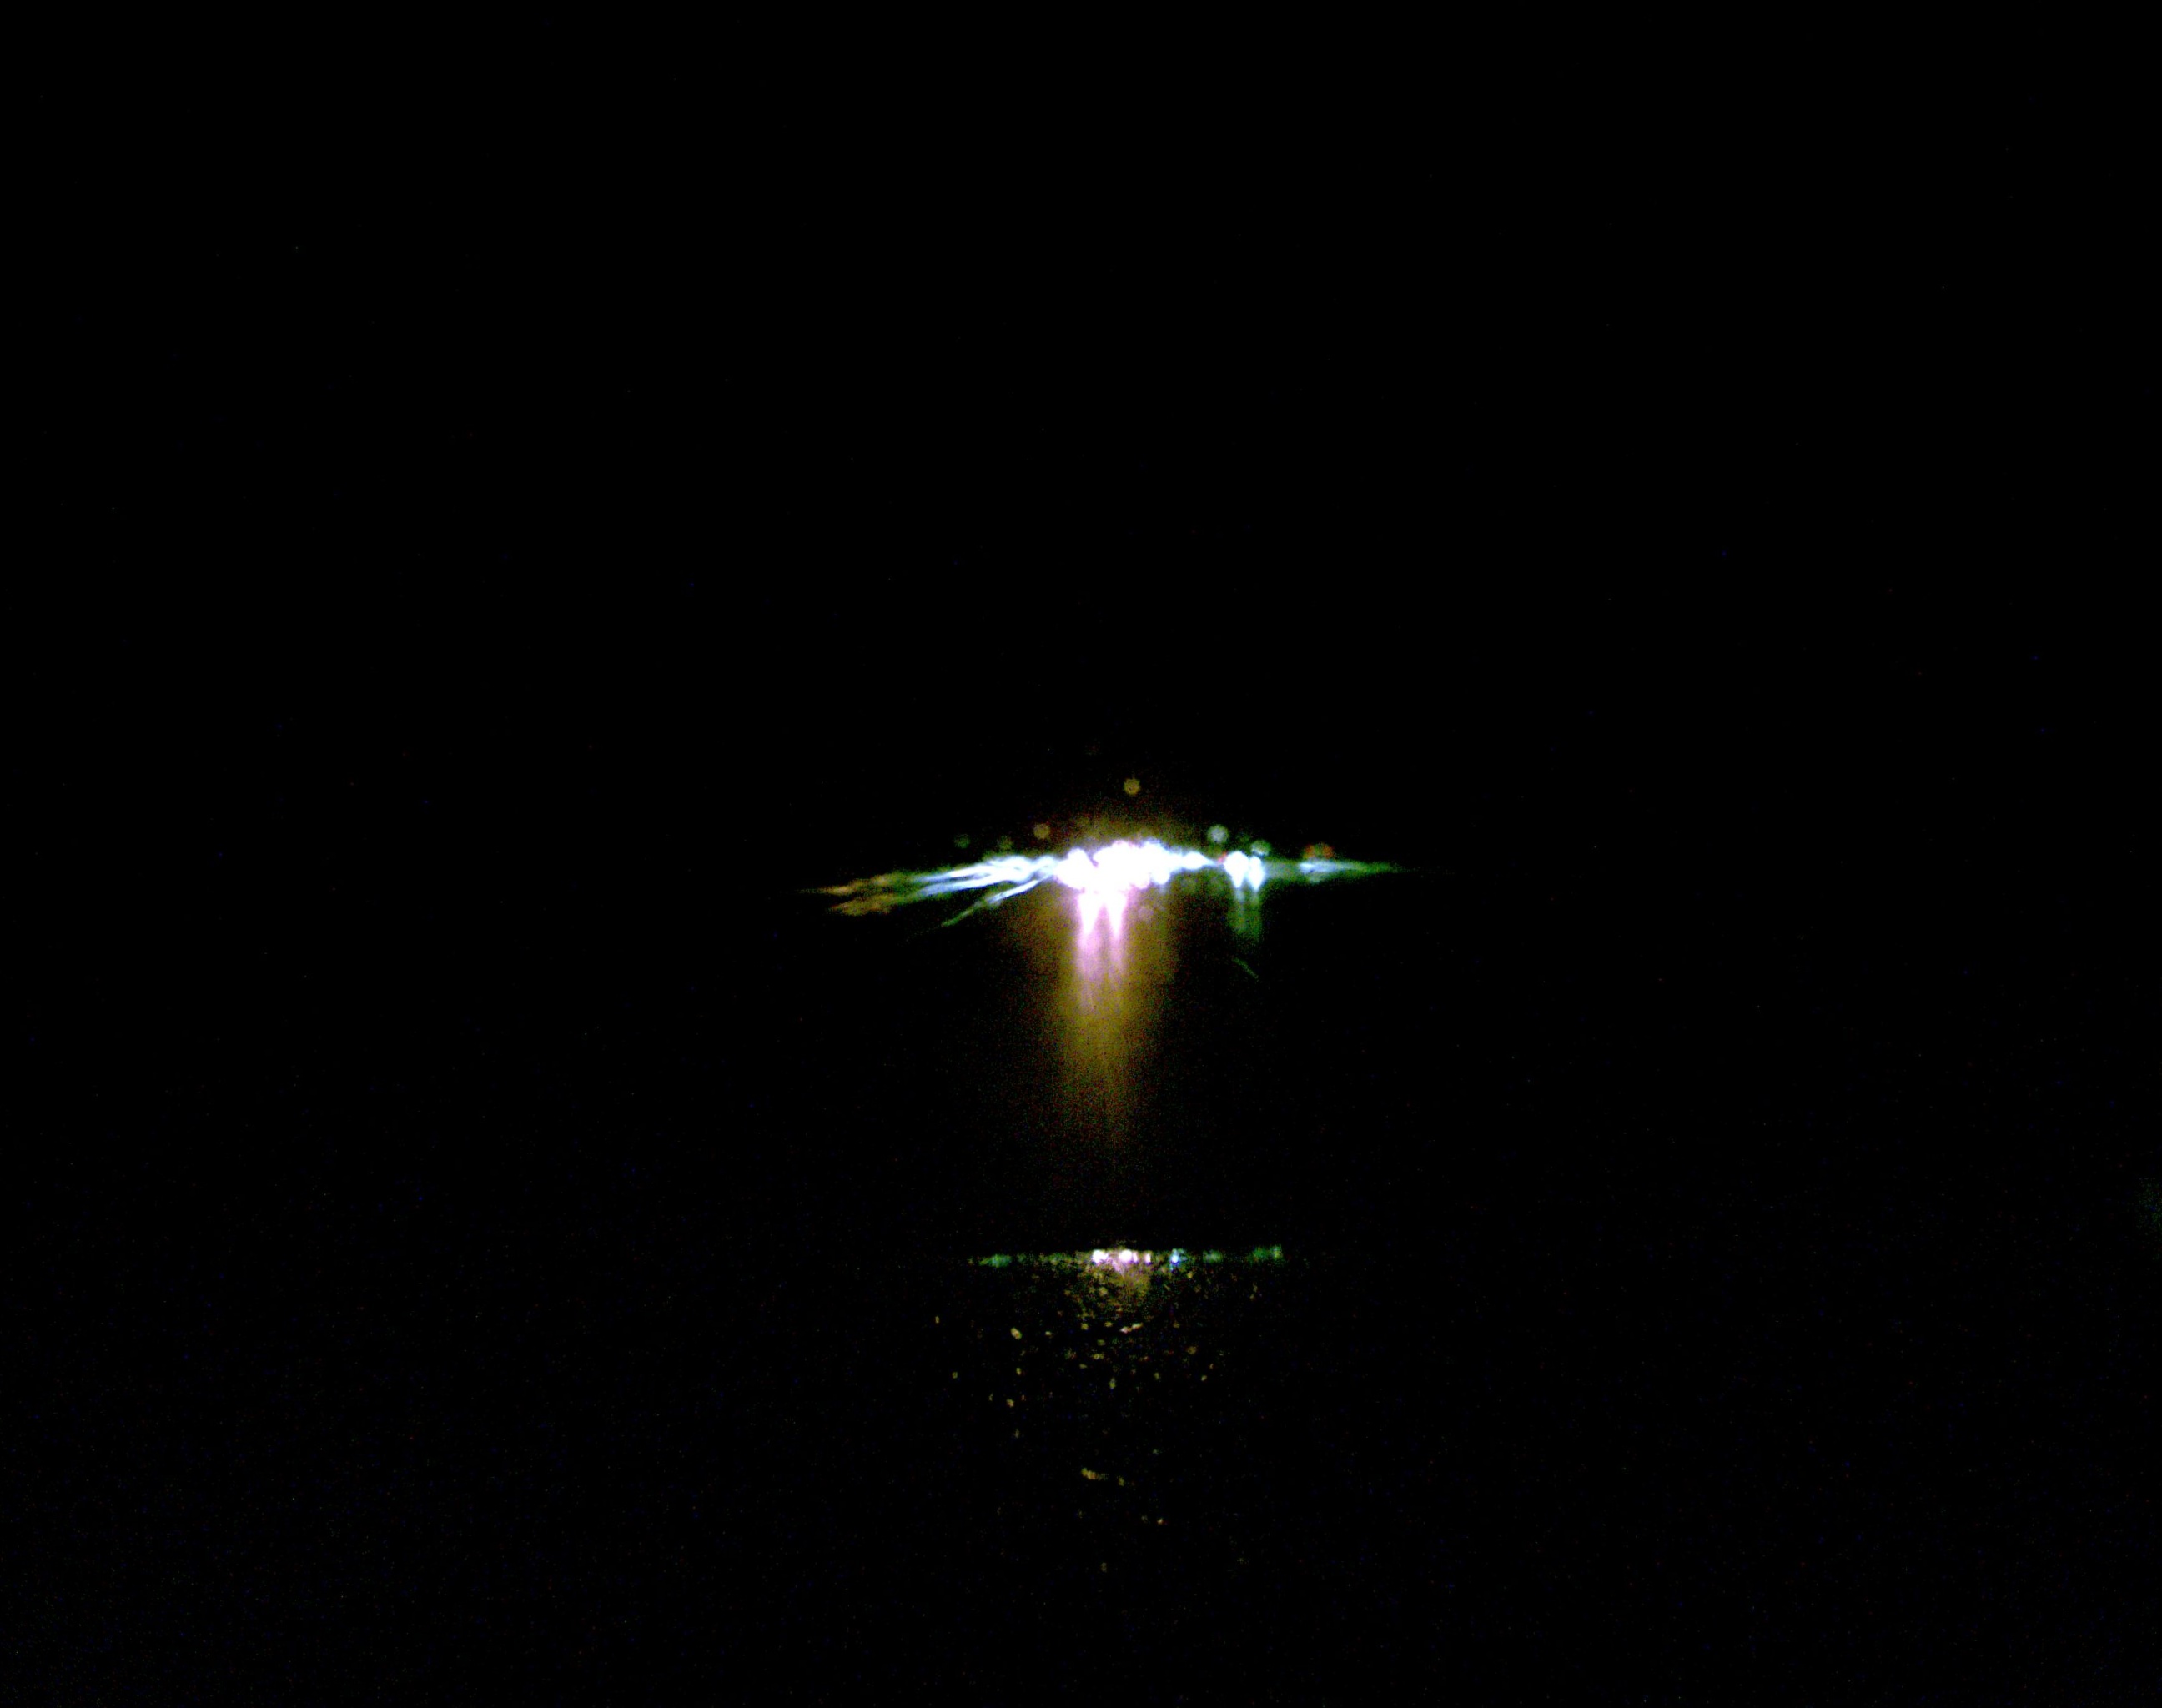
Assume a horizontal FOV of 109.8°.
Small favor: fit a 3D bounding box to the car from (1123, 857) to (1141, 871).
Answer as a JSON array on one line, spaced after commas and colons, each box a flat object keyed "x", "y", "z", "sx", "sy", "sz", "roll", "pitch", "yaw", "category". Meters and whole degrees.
[{"x": 6.108, "y": 1.203, "z": 91.533, "sx": 1.998, "sy": 1.551, "sz": 4.588, "roll": -2, "pitch": 1, "yaw": 2, "category": "car"}]

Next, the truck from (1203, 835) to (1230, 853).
[{"x": 31.535, "y": -2.267, "z": 177.549, "sx": 3.508, "sy": 3.865, "sz": 17.180, "roll": -2, "pitch": 1, "yaw": 2, "category": "truck"}]

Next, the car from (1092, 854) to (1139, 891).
[{"x": 1.590, "y": 0.874, "z": 35.855, "sx": 1.998, "sy": 1.542, "sz": 4.001, "roll": -2, "pitch": -2, "yaw": 2, "category": "car"}]

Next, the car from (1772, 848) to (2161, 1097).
[{"x": 7.613, "y": 0.725, "z": 5.294, "sx": 1.998, "sy": 1.433, "sz": 4.000, "roll": -2, "pitch": 1, "yaw": 2, "category": "car"}]

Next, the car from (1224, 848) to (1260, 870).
[{"x": 12.649, "y": 0.342, "z": 59.921, "sx": 1.998, "sy": 1.551, "sz": 4.588, "roll": -2, "pitch": 1, "yaw": 2, "category": "car"}]

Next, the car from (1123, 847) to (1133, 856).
[{"x": 9.832, "y": -0.477, "z": 158.222, "sx": 1.998, "sy": 1.797, "sz": 4.000, "roll": -2, "pitch": 1, "yaw": 2, "category": "car"}]

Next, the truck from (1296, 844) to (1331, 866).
[{"x": 26.141, "y": 0.116, "z": 85.775, "sx": 1.998, "sy": 2.334, "sz": 6.438, "roll": -2, "pitch": 1, "yaw": 1, "category": "truck"}]

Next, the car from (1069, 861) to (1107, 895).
[{"x": 0.325, "y": 1.004, "z": 33.131, "sx": 1.525, "sy": 1.256, "sz": 3.369, "roll": -2, "pitch": 1, "yaw": 1, "category": "car"}]

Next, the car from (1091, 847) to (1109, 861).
[{"x": 2.043, "y": -0.029, "z": 82.838, "sx": 1.813, "sy": 1.477, "sz": 3.582, "roll": -2, "pitch": 1, "yaw": 0, "category": "car"}]

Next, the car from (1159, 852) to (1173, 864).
[{"x": 14.315, "y": 0.687, "z": 127.857, "sx": 1.998, "sy": 1.797, "sz": 4.000, "roll": -2, "pitch": 1, "yaw": 2, "category": "car"}]
